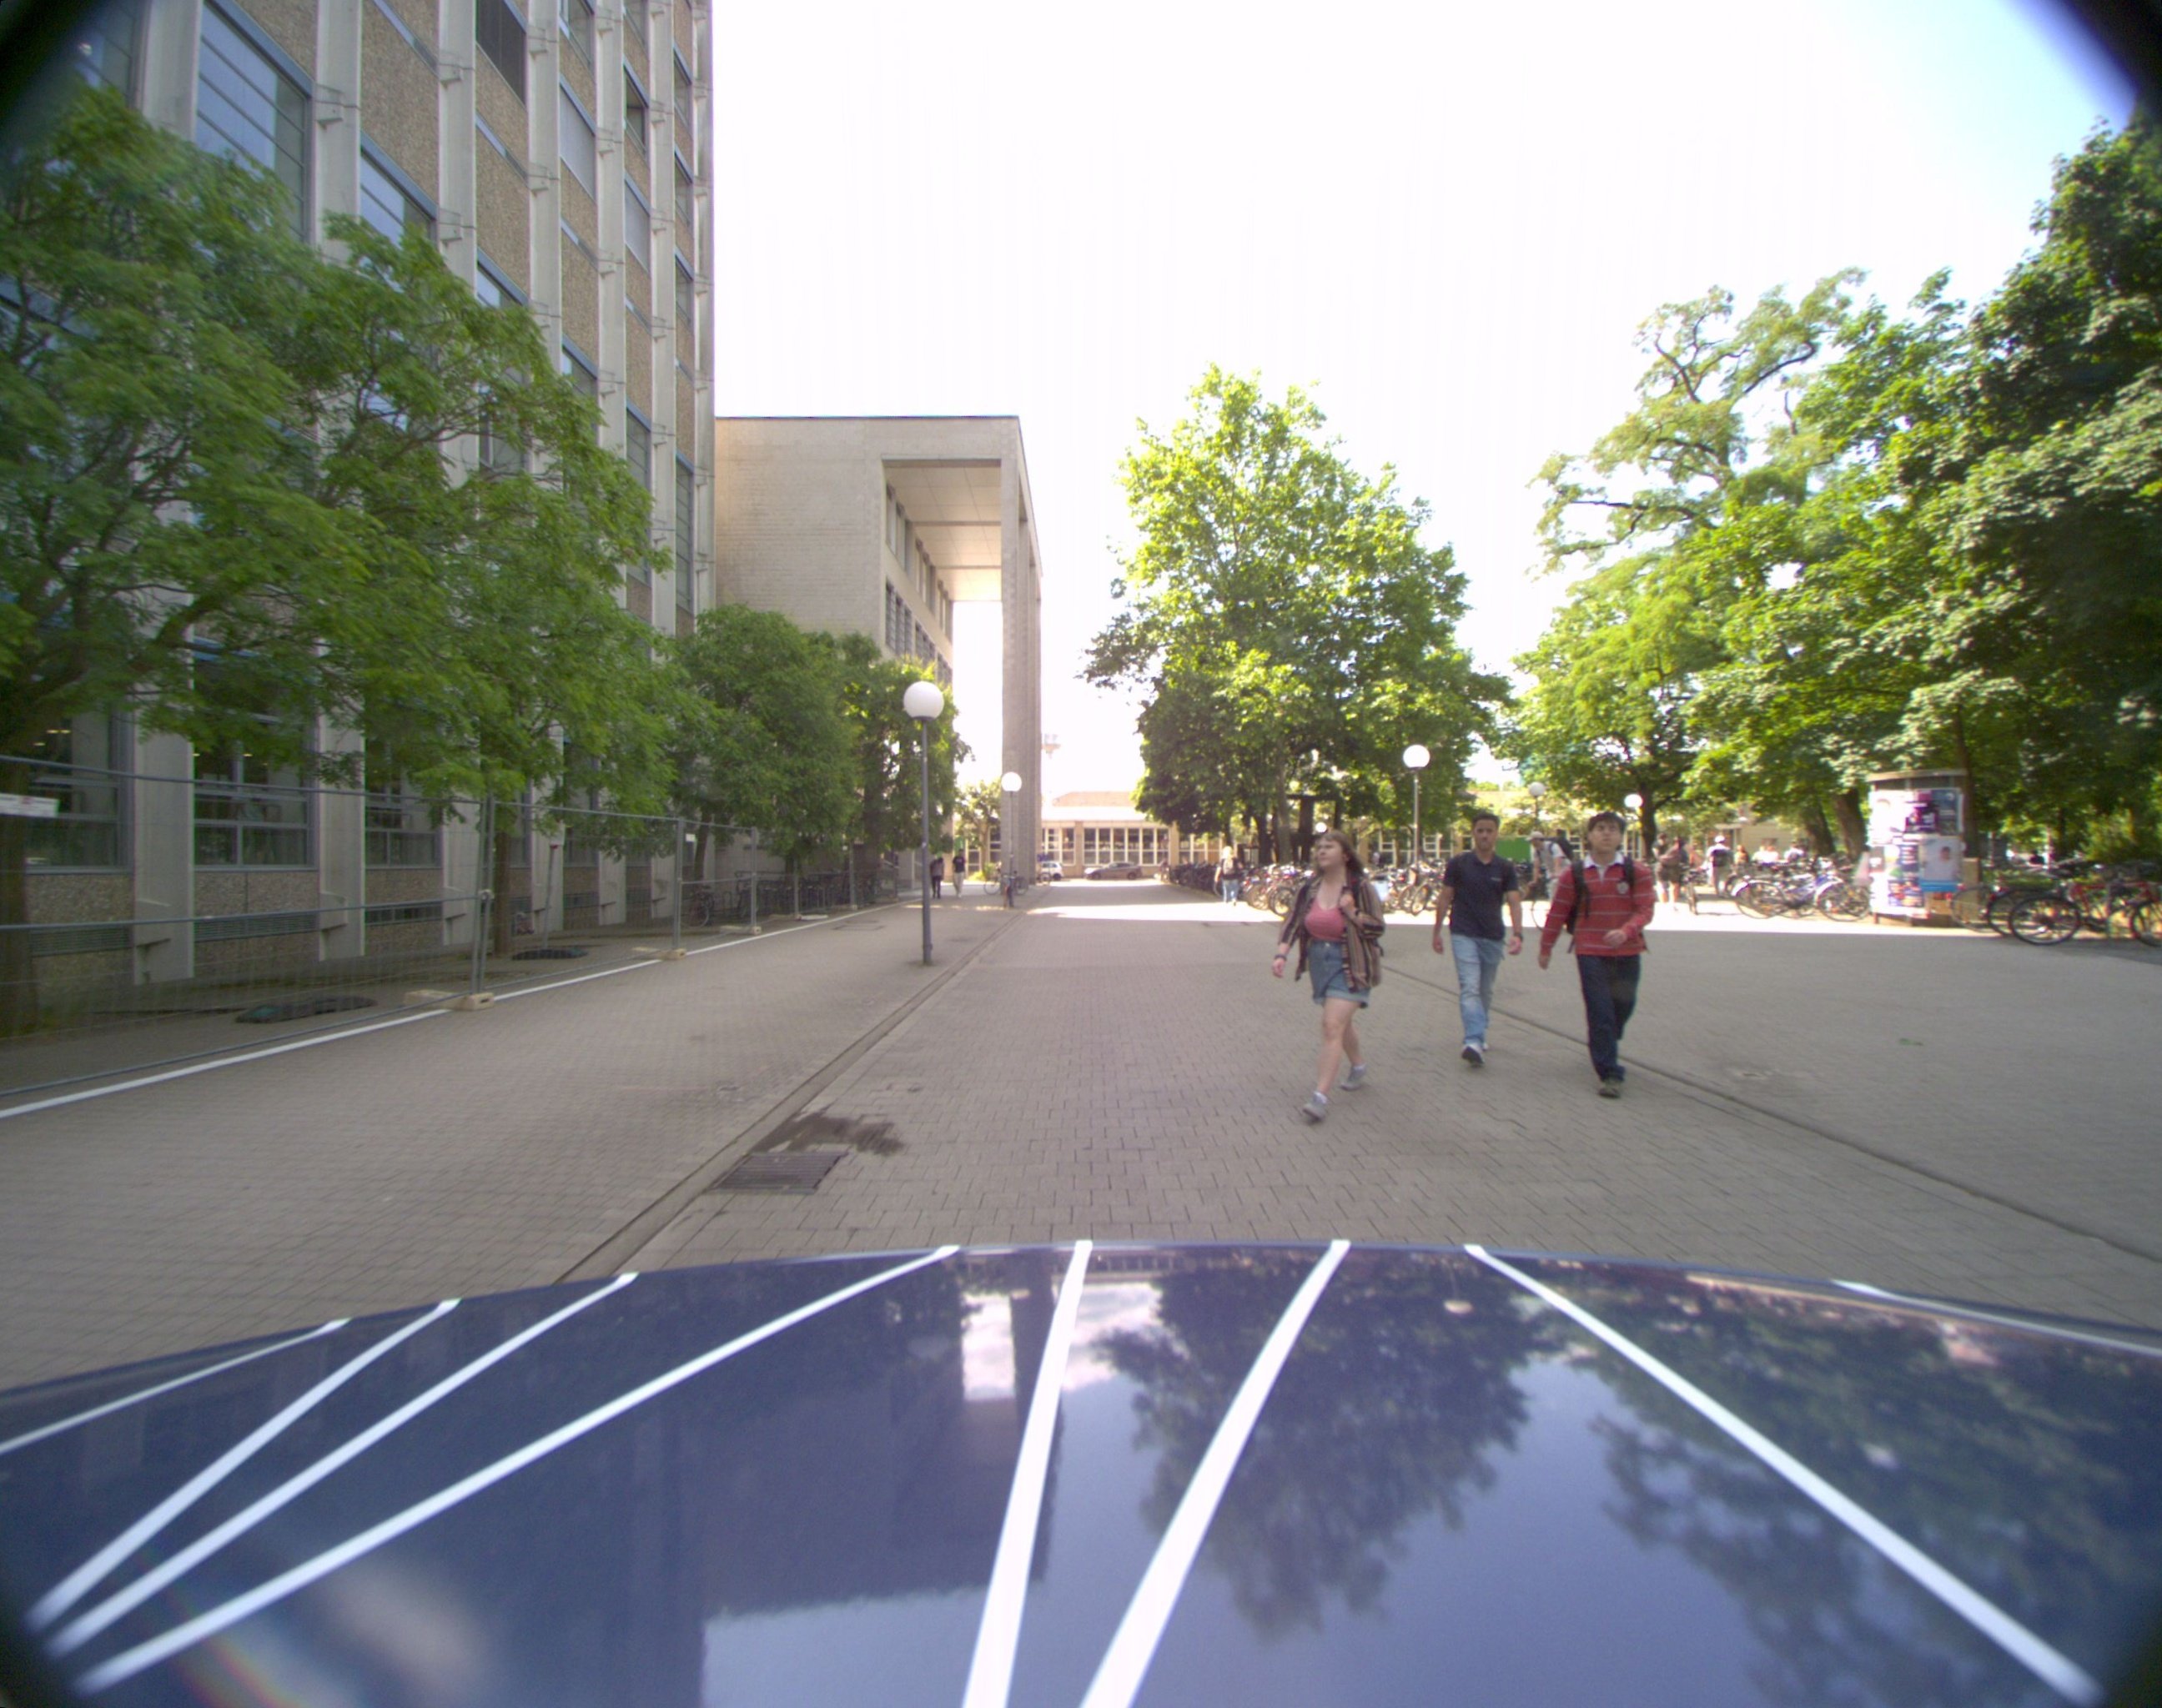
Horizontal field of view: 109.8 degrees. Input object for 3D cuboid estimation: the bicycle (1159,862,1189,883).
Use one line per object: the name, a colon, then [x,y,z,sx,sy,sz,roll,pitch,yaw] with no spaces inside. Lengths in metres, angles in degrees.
bicycle: [5.155,1.000,42.018,1.628,1.101,0.497,-1,1,5]

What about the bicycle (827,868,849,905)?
bicycle: [-7.728,1.031,24.236,0.291,1.121,1.448,-1,0,-3]

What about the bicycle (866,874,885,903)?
bicycle: [-6.914,1.139,25.581,0.291,0.900,1.448,-1,0,-3]

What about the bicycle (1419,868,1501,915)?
bicycle: [9.221,0.895,18.525,1.695,1.077,0.475,-1,1,42]

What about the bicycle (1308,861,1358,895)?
bicycle: [9.285,0.880,28.026,0.577,1.193,1.695,-2,1,-39]

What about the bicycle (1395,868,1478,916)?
bicycle: [8.292,0.888,17.782,1.696,1.077,0.475,-1,1,20]

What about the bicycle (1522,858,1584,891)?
bicycle: [15.805,0.670,25.464,1.695,1.077,0.475,-1,1,43]

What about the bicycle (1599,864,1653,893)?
bicycle: [21.596,0.954,30.131,0.475,1.077,1.695,-2,1,-38]

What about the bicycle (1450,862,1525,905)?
bicycle: [10.787,0.767,20.190,1.695,1.077,0.475,-1,1,39]

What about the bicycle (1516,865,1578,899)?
bicycle: [15.402,0.912,25.131,1.695,1.077,0.475,-1,1,43]

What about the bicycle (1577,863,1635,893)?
bicycle: [19.624,0.901,28.430,0.475,1.077,1.695,-2,1,-38]

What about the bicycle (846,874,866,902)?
bicycle: [-7.602,1.138,25.732,0.291,0.900,1.448,-1,0,-3]

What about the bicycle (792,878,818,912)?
bicycle: [-7.978,1.161,21.975,0.291,0.900,1.448,-1,0,-3]

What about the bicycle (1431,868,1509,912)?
bicycle: [9.924,0.902,19.429,1.695,1.077,0.475,-1,1,42]

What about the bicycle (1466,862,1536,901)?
bicycle: [12.066,0.787,21.836,1.695,1.077,0.475,-1,1,36]

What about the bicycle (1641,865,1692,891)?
bicycle: [25.221,1.016,32.772,0.475,1.077,1.696,-2,1,-28]

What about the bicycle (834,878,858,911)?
bicycle: [-6.839,1.161,22.151,0.291,0.900,1.448,-1,0,-3]

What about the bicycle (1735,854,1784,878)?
bicycle: [32.633,0.572,36.580,0.475,1.077,1.696,-2,1,-28]

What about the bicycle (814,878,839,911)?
bicycle: [-7.376,1.157,22.062,0.291,0.900,1.448,-1,0,-3]

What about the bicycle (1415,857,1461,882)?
bicycle: [16.324,0.698,34.794,0.503,1.101,1.902,-2,1,-33]

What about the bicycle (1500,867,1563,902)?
bicycle: [14.350,0.951,24.220,1.695,1.077,0.475,-1,1,36]

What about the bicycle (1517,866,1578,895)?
bicycle: [16.052,0.901,26.181,0.453,0.956,1.735,-2,1,-38]

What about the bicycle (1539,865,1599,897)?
bicycle: [17.057,0.920,26.575,0.475,1.077,1.695,-2,1,-38]

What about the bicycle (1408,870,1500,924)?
bicycle: [7.942,0.914,16.241,1.696,1.104,0.474,-1,1,13]

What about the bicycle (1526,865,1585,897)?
bicycle: [16.503,0.913,26.458,0.475,1.077,1.695,-2,1,-38]

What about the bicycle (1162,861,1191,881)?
bicycle: [5.432,0.969,43.265,1.628,1.101,0.497,-1,-1,0]

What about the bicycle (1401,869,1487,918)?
bicycle: [8.218,0.890,17.255,1.696,1.077,0.475,-1,1,20]

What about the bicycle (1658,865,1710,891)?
bicycle: [26.221,1.026,33.057,0.475,1.077,1.696,-2,1,-28]

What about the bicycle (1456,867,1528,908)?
bicycle: [11.368,0.906,21.033,1.695,1.077,0.475,-1,1,36]

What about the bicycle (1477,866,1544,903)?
bicycle: [12.844,0.907,22.733,1.695,1.077,0.475,-1,1,36]

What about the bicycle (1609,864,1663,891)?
bicycle: [22.402,0.931,30.701,0.475,1.077,1.695,-2,1,-38]

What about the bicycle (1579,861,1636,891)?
bicycle: [19.946,0.824,28.823,0.475,1.077,1.695,-2,1,-38]

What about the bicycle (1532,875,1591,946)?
bicycle: [8.356,0.943,13.185,0.602,1.077,1.703,-1,1,41]

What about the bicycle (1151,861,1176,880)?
bicycle: [5.425,1.088,49.899,0.772,1.144,2.112,1,1,31]

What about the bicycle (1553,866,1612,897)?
bicycle: [18.128,0.977,27.500,0.475,1.077,1.695,-2,1,-38]

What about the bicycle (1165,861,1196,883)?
bicycle: [5.347,0.958,40.882,1.628,1.101,0.629,-1,1,5]

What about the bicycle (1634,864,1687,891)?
bicycle: [24.331,0.987,31.929,0.475,1.077,1.695,-2,1,-33]

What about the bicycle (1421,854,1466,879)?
bicycle: [16.737,0.557,35.149,0.503,1.101,1.902,-2,1,-33]

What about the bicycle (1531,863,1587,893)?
bicycle: [18.037,0.887,28.701,0.475,1.077,1.695,-2,1,-38]

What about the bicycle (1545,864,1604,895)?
bicycle: [17.631,0.905,27.163,0.475,1.077,1.695,-2,1,-38]

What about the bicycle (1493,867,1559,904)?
bicycle: [13.695,0.954,23.415,1.695,1.077,0.475,-1,1,36]

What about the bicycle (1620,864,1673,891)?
bicycle: [23.458,0.966,31.532,0.475,1.077,1.695,-2,1,-38]

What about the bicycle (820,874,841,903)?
bicycle: [-8.473,1.155,25.747,0.291,0.900,1.448,-1,0,-3]

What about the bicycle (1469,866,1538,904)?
bicycle: [12.349,0.901,22.235,1.695,1.077,0.475,-1,1,36]

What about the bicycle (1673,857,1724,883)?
bicycle: [27.320,0.694,33.627,0.475,1.077,1.696,-2,1,-28]

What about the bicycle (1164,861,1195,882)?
bicycle: [5.351,0.969,41.445,1.628,1.101,0.497,-1,1,5]

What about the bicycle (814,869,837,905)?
bicycle: [-8.121,1.035,24.188,0.291,1.088,1.448,-1,0,-3]

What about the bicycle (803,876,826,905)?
bicycle: [-8.470,1.149,24.183,0.291,0.882,1.448,-1,0,-3]

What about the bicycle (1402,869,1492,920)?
bicycle: [8.045,0.892,16.755,1.720,1.077,0.474,-1,1,15]

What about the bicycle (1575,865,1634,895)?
bicycle: [19.236,0.936,27.951,0.475,1.077,1.695,-2,1,-38]

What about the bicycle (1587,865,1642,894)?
bicycle: [20.757,0.973,29.600,0.475,1.077,1.695,-2,1,-38]
